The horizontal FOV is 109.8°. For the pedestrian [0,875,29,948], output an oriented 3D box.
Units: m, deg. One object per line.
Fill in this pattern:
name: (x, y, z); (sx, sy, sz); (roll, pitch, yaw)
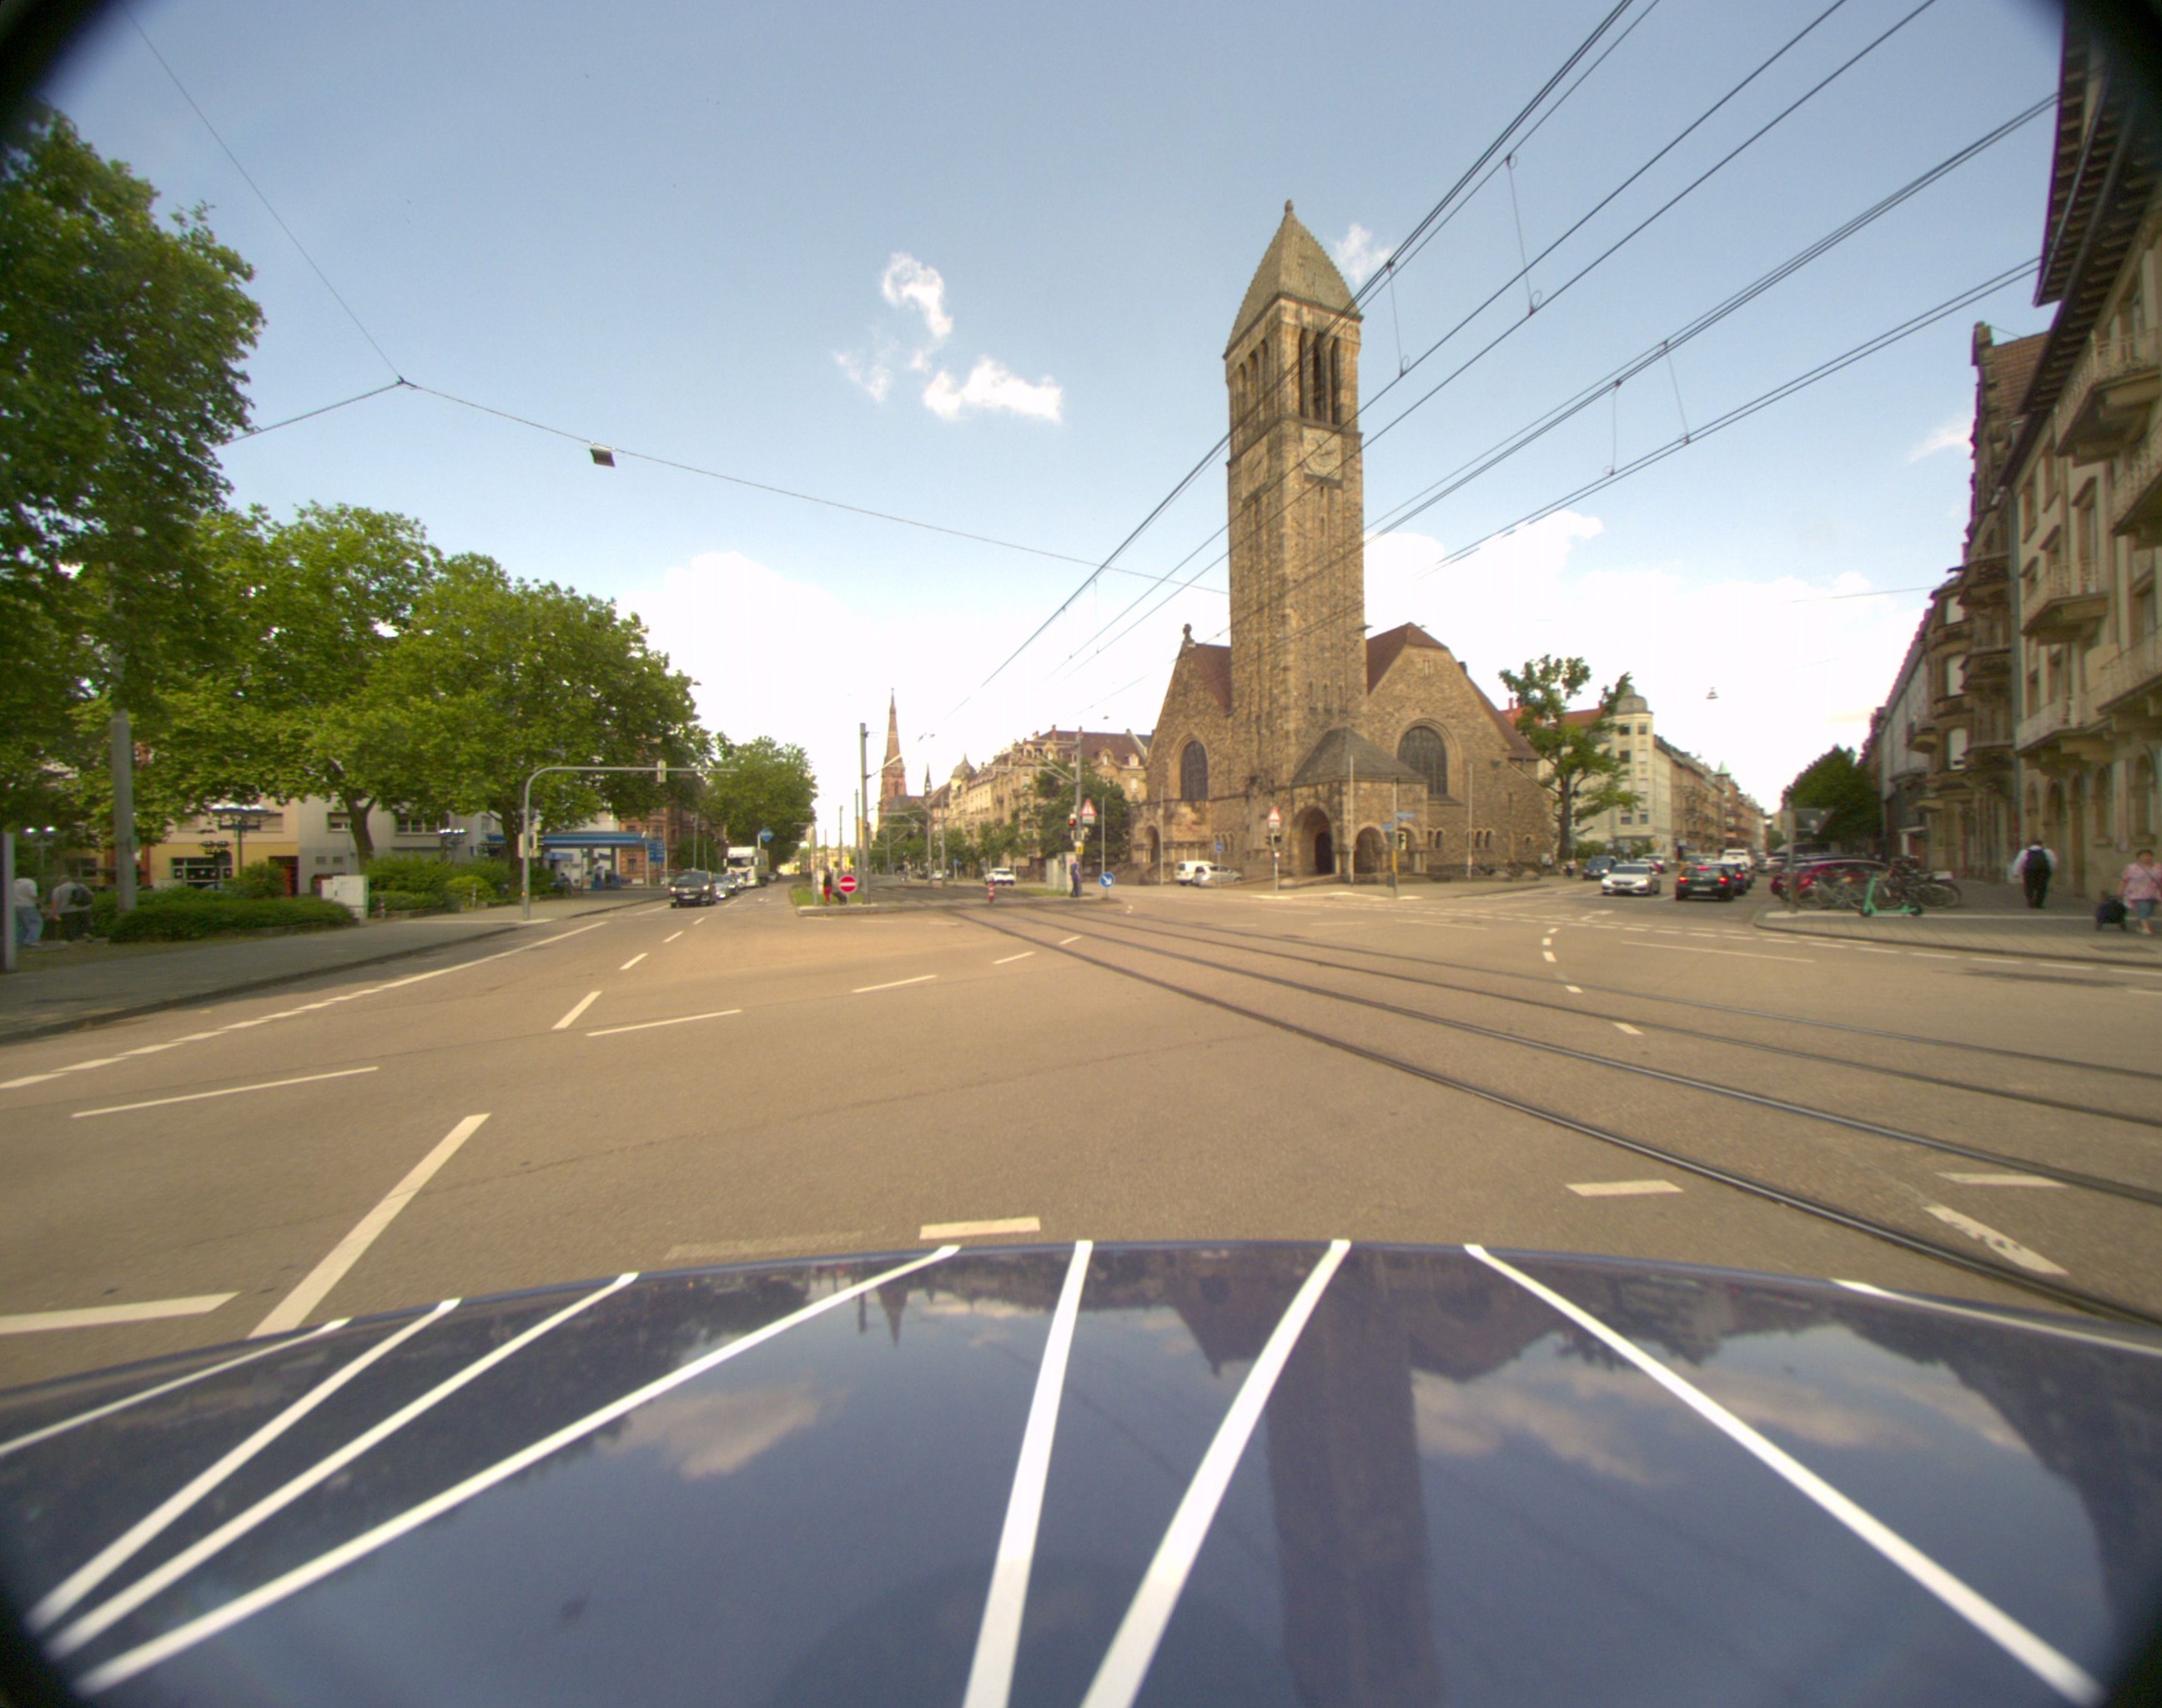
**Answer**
pedestrian: (-26.056, 1.390, 18.378); (0.607, 1.740, 0.697); (0, 0, -45)

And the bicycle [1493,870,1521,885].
bicycle: (34.092, 1.882, 60.804); (0.587, 1.106, 1.935); (-1, 3, -24)

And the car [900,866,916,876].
car: (-27.817, 2.646, 122.034); (1.787, 1.525, 4.378); (-2, 0, -21)

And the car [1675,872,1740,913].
car: (25.375, 1.498, 30.747); (1.714, 1.425, 3.826); (0, 0, 44)

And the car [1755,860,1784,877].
car: (66.835, 1.410, 73.730); (3.899, 1.641, 1.887); (0, -1, -45)

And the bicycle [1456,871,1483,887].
bicycle: (30.299, 1.922, 59.304); (0.587, 1.106, 1.935); (-1, 3, -24)

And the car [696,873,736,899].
car: (-21.979, 1.898, 45.883); (1.736, 1.457, 4.320); (0, -1, -20)

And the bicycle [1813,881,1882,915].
bicycle: (24.260, 1.398, 24.070); (1.480, 1.045, 0.463); (-4, -3, 45)

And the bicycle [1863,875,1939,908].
bicycle: (27.700, 1.276, 25.677); (1.903, 1.045, 0.558); (-2, -2, 0)

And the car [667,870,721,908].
car: (-19.354, 1.697, 38.135); (1.856, 1.716, 4.412); (0, -1, -20)

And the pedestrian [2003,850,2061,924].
pedestrian: (24.696, 0.847, 19.755); (0.803, 1.849, 0.907); (-2, 2, 44)

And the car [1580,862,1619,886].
car: (39.175, 1.493, 57.387); (4.154, 1.780, 1.679); (0, -1, -45)

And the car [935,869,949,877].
car: (-21.706, 2.977, 118.312); (1.657, 1.226, 3.058); (-1, -1, -20)

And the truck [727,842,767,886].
truck: (-32.925, 0.993, 75.078); (2.920, 4.125, 6.581); (-1, 0, -18)

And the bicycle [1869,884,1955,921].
bicycle: (23.983, 1.397, 21.955); (0.481, 1.045, 1.610); (0, -3, -38)

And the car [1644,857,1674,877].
car: (57.500, 1.281, 75.585); (4.195, 1.927, 1.840); (0, -1, -45)

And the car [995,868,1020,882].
car: (-8.218, 2.285, 84.459); (1.791, 1.486, 3.831); (-1, -1, -20)

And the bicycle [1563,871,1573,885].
bicycle: (37.760, 1.876, 58.922); (0.479, 1.045, 1.446); (-1, -1, 39)

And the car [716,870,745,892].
car: (-26.775, 2.049, 58.134); (1.688, 1.554, 3.746); (0, -1, -20)

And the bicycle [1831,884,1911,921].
bicycle: (23.675, 1.451, 22.792); (0.481, 1.045, 1.578); (0, -3, -38)

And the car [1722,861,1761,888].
car: (45.302, 1.374, 52.086); (1.812, 1.765, 4.293); (0, -1, 44)

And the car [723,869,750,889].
car: (-30.683, 2.178, 67.728); (1.856, 1.695, 4.128); (0, -1, -20)

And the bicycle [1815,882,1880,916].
bicycle: (23.994, 1.420, 23.810); (1.369, 1.045, 0.419); (-5, -3, 43)

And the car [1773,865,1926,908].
car: (29.922, 1.293, 29.680); (3.950, 1.447, 1.733); (-3, -3, 3)

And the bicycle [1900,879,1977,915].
bicycle: (26.104, 1.318, 23.163); (1.480, 1.045, 0.463); (-4, -3, 42)

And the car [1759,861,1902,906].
car: (31.434, 1.276, 31.963); (3.950, 1.679, 1.804); (-3, -3, 5)

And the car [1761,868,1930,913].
car: (27.558, 1.320, 27.523); (3.995, 1.448, 1.814); (-2, -2, 7)

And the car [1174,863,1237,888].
car: (9.426, 1.640, 57.500); (4.310, 1.842, 1.997); (1, -2, -21)

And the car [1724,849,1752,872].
car: (75.446, 0.755, 87.255); (2.077, 2.430, 5.959); (2, 0, 43)

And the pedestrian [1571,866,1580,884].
pedestrian: (38.171, 1.618, 58.638); (0.465, 1.447, 0.557); (-1, 0, 40)

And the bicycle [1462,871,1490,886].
bicycle: (30.960, 1.915, 59.584); (0.587, 1.106, 1.935); (-1, 3, -24)

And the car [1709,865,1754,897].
car: (36.243, 1.444, 42.296); (1.771, 1.573, 4.029); (1, 1, 42)

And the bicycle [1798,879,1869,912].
bicycle: (25.389, 1.381, 25.634); (1.811, 1.045, 0.558); (-2, -2, -1)

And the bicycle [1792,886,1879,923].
bicycle: (22.724, 1.520, 22.918); (0.532, 1.045, 1.733); (-1, -2, -29)

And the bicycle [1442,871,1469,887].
bicycle: (28.867, 1.937, 58.639); (0.587, 1.106, 1.935); (-1, 3, -24)

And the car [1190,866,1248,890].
car: (9.820, 1.727, 54.063); (3.642, 1.668, 1.816); (1, -2, -24)

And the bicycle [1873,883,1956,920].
bicycle: (24.645, 1.396, 22.488); (0.481, 1.045, 1.578); (0, -3, -38)

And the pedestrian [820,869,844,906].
pedestrian: (-10.282, 1.376, 31.335); (0.777, 1.483, 0.657); (1, -1, -33)

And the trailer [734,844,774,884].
trailer: (-35.226, 1.048, 82.238); (2.920, 4.053, 11.633); (-1, 0, -18)

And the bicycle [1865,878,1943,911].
bicycle: (26.514, 1.312, 24.509); (1.628, 1.045, 0.559); (-4, -3, 43)

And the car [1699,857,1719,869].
car: (89.882, 1.315, 108.744); (4.195, 1.755, 1.806); (0, -1, -45)

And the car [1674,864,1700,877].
car: (70.707, 1.907, 88.632); (4.195, 1.360, 1.806); (0, -1, -45)

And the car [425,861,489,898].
car: (-42.199, 1.684, 51.485); (2.114, 2.406, 3.993); (-1, 0, -20)

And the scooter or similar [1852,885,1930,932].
scooter or similar: (20.909, 1.395, 19.645); (0.482, 1.139, 1.251); (-1, -2, -28)

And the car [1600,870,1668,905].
car: (25.784, 1.494, 35.359); (4.395, 1.439, 1.822); (0, 1, -44)

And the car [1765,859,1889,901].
car: (36.174, 1.270, 36.939); (3.948, 1.856, 1.733); (-2, -2, 11)

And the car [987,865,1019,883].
car: (-6.903, 1.781, 66.950); (1.822, 1.497, 4.124); (-1, -1, -21)

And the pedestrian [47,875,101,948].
pedestrian: (-24.574, 1.385, 18.553); (0.694, 1.712, 0.718); (0, 0, -45)

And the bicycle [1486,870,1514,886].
bicycle: (33.338, 1.890, 60.518); (0.587, 1.106, 1.935); (-1, 3, -24)

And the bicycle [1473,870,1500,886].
bicycle: (31.933, 1.905, 59.842); (0.587, 1.106, 1.935); (-1, 3, -24)

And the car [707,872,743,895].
car: (-24.547, 2.031, 52.529); (1.856, 1.438, 3.966); (0, 0, -20)

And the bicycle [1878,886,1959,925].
bicycle: (23.242, 1.423, 21.104); (0.481, 1.045, 1.440); (0, -2, -36)

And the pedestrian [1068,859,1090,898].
pedestrian: (-0.113, 1.095, 34.497); (0.773, 1.721, 0.742); (0, 0, -21)

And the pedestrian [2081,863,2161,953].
pedestrian: (19.663, 1.001, 14.207); (0.998, 1.584, 0.942); (0, -4, -45)

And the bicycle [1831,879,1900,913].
bicycle: (25.358, 1.359, 24.596); (1.480, 1.045, 0.463); (-4, -3, 41)

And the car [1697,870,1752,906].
car: (30.545, 1.555, 36.024); (1.748, 1.531, 3.940); (0, 0, 43)

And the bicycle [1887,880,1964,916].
bicycle: (25.406, 1.340, 22.887); (0.463, 1.045, 1.480); (0, -3, -44)

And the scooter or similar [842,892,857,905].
scooter or similar: (-9.690, 1.862, 31.800); (0.522, 0.532, 0.310); (2, -1, -33)
